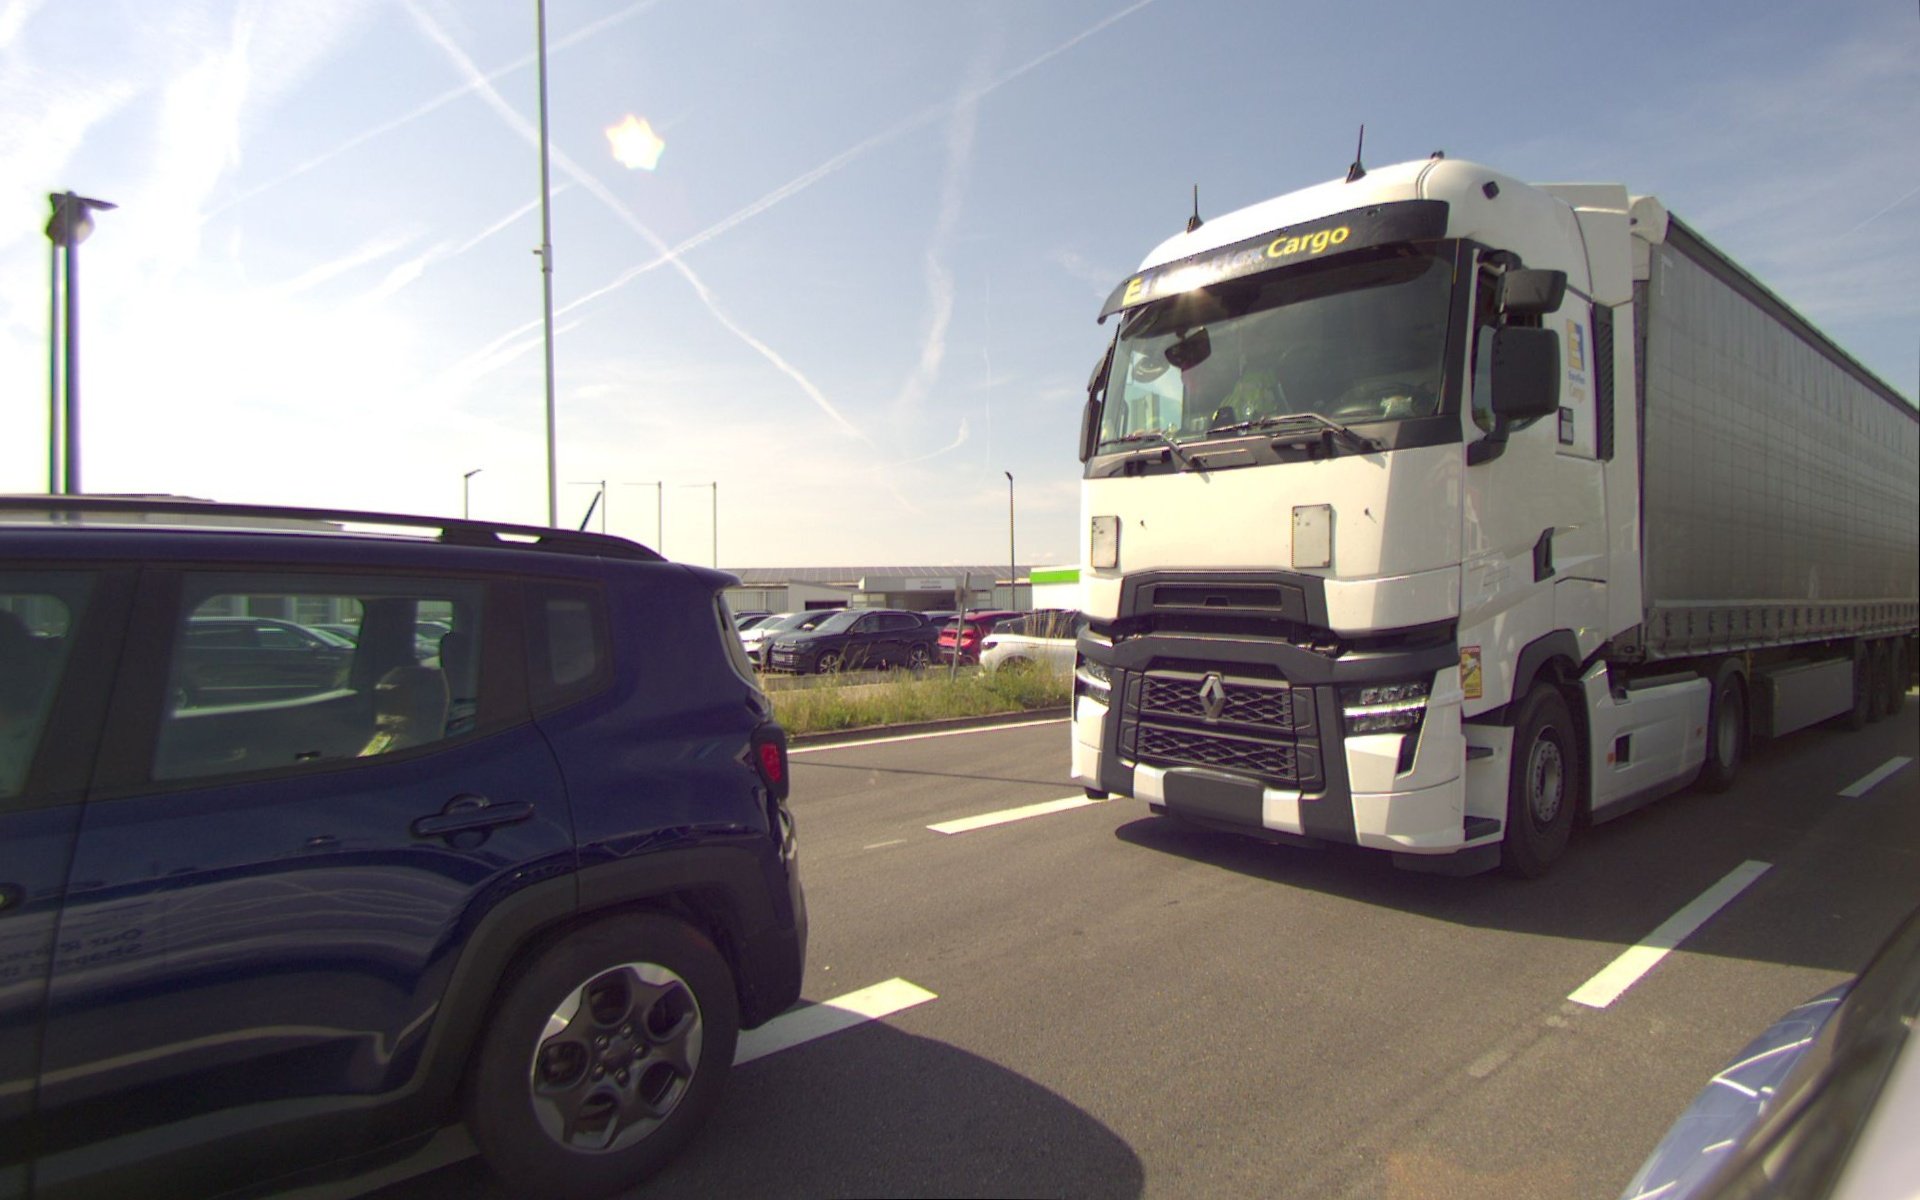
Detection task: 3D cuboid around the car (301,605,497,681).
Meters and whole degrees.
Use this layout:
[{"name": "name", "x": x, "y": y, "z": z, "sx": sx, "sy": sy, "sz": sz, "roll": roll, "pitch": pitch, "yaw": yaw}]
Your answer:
[{"name": "car", "x": -14.258, "y": 1.045, "z": 26.021, "sx": 4.143, "sy": 1.812, "sz": 1.987, "roll": 0, "pitch": -1, "yaw": -20}]

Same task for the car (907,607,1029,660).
[{"name": "car", "x": 0.276, "y": 0.970, "z": 30.744, "sx": 3.531, "sy": 1.426, "sz": 1.562, "roll": -1, "pitch": 2, "yaw": -39}]

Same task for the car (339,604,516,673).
[{"name": "car", "x": -14.769, "y": 1.032, "z": 28.341, "sx": 4.143, "sy": 1.812, "sz": 1.987, "roll": 0, "pitch": -1, "yaw": -20}]

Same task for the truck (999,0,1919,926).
[{"name": "truck", "x": 7.493, "y": -0.826, "z": 10.657, "sx": 16.410, "sy": 4.320, "sz": 2.896, "roll": 0, "pitch": 0, "yaw": -39}]

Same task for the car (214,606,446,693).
[{"name": "car", "x": -14.192, "y": 1.072, "z": 23.101, "sx": 4.143, "sy": 1.812, "sz": 1.987, "roll": 0, "pitch": -1, "yaw": -20}]

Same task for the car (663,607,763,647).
[{"name": "car", "x": -10.730, "y": 1.134, "z": 44.106, "sx": 3.896, "sy": 1.638, "sz": 1.708, "roll": 0, "pitch": 0, "yaw": -37}]

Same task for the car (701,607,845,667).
[{"name": "car", "x": -5.519, "y": 1.033, "z": 30.071, "sx": 3.896, "sy": 1.638, "sz": 1.708, "roll": 0, "pitch": 0, "yaw": -37}]

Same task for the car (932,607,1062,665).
[{"name": "car", "x": 1.089, "y": 0.976, "z": 28.663, "sx": 3.531, "sy": 1.426, "sz": 1.562, "roll": -1, "pitch": 2, "yaw": -39}]

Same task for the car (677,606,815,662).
[{"name": "car", "x": -6.683, "y": 1.023, "z": 31.787, "sx": 3.896, "sy": 1.638, "sz": 1.708, "roll": 0, "pitch": 0, "yaw": -37}]

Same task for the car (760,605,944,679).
[{"name": "car", "x": -2.690, "y": 0.988, "z": 25.595, "sx": 4.202, "sy": 1.678, "sz": 1.999, "roll": 0, "pitch": 0, "yaw": -37}]

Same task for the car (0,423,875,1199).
[{"name": "car", "x": -2.317, "y": 0.543, "z": 2.295, "sx": 3.930, "sy": 1.706, "sz": 1.822, "roll": 0, "pitch": 1, "yaw": -41}]

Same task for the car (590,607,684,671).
[{"name": "car", "x": -9.095, "y": 1.014, "z": 28.288, "sx": 1.959, "sy": 1.638, "sz": 4.006, "roll": 0, "pitch": 0, "yaw": -26}]

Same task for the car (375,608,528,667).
[{"name": "car", "x": -16.358, "y": 1.179, "z": 32.788, "sx": 4.143, "sy": 1.777, "sz": 1.911, "roll": 0, "pitch": -1, "yaw": -15}]

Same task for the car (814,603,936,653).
[{"name": "car", "x": -2.929, "y": 0.922, "z": 35.210, "sx": 3.894, "sy": 1.638, "sz": 1.709, "roll": 0, "pitch": 0, "yaw": -36}]

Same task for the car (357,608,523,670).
[{"name": "car", "x": -15.622, "y": 1.139, "z": 30.645, "sx": 4.143, "sy": 1.777, "sz": 1.911, "roll": 0, "pitch": -1, "yaw": -15}]

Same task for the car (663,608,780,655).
[{"name": "car", "x": -8.037, "y": 1.023, "z": 34.196, "sx": 3.531, "sy": 1.426, "sz": 1.562, "roll": -1, "pitch": 2, "yaw": -39}]

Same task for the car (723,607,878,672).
[{"name": "car", "x": -4.294, "y": 1.011, "z": 27.492, "sx": 3.756, "sy": 1.638, "sz": 1.857, "roll": 0, "pitch": 0, "yaw": -37}]

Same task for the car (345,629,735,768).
[{"name": "car", "x": -5.044, "y": 1.090, "z": 12.237, "sx": 4.289, "sy": 1.420, "sz": 1.729, "roll": 0, "pitch": 0, "yaw": 18}]

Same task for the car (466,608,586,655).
[{"name": "car", "x": -17.180, "y": 1.228, "z": 40.296, "sx": 4.143, "sy": 1.777, "sz": 1.911, "roll": 0, "pitch": -1, "yaw": -14}]

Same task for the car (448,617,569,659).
[{"name": "car", "x": -16.764, "y": 1.386, "z": 37.758, "sx": 3.916, "sy": 1.438, "sz": 1.713, "roll": 0, "pitch": -1, "yaw": -17}]

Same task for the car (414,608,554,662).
[{"name": "car", "x": -16.522, "y": 1.190, "z": 35.359, "sx": 4.143, "sy": 1.777, "sz": 1.911, "roll": 0, "pitch": -1, "yaw": -15}]

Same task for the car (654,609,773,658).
[{"name": "car", "x": -8.938, "y": 1.173, "z": 36.832, "sx": 3.896, "sy": 1.638, "sz": 1.708, "roll": 0, "pitch": 0, "yaw": -37}]

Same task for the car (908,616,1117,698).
[{"name": "car", "x": 1.006, "y": 1.021, "z": 19.229, "sx": 3.623, "sy": 1.420, "sz": 1.725, "roll": 0, "pitch": 0, "yaw": 24}]

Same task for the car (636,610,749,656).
[{"name": "car", "x": -10.338, "y": 1.236, "z": 39.163, "sx": 3.896, "sy": 1.638, "sz": 1.708, "roll": 0, "pitch": 0, "yaw": -37}]

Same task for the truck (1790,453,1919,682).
[{"name": "truck", "x": 20.304, "y": -0.574, "z": 20.707, "sx": 10.939, "sy": 3.859, "sz": 2.886, "roll": 0, "pitch": 0, "yaw": -38}]

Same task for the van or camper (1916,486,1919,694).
[{"name": "van or camper", "x": 7.119, "y": 0.478, "z": 5.591, "sx": 5.195, "sy": 2.039, "sz": 1.998, "roll": 0, "pitch": -1, "yaw": -39}]
